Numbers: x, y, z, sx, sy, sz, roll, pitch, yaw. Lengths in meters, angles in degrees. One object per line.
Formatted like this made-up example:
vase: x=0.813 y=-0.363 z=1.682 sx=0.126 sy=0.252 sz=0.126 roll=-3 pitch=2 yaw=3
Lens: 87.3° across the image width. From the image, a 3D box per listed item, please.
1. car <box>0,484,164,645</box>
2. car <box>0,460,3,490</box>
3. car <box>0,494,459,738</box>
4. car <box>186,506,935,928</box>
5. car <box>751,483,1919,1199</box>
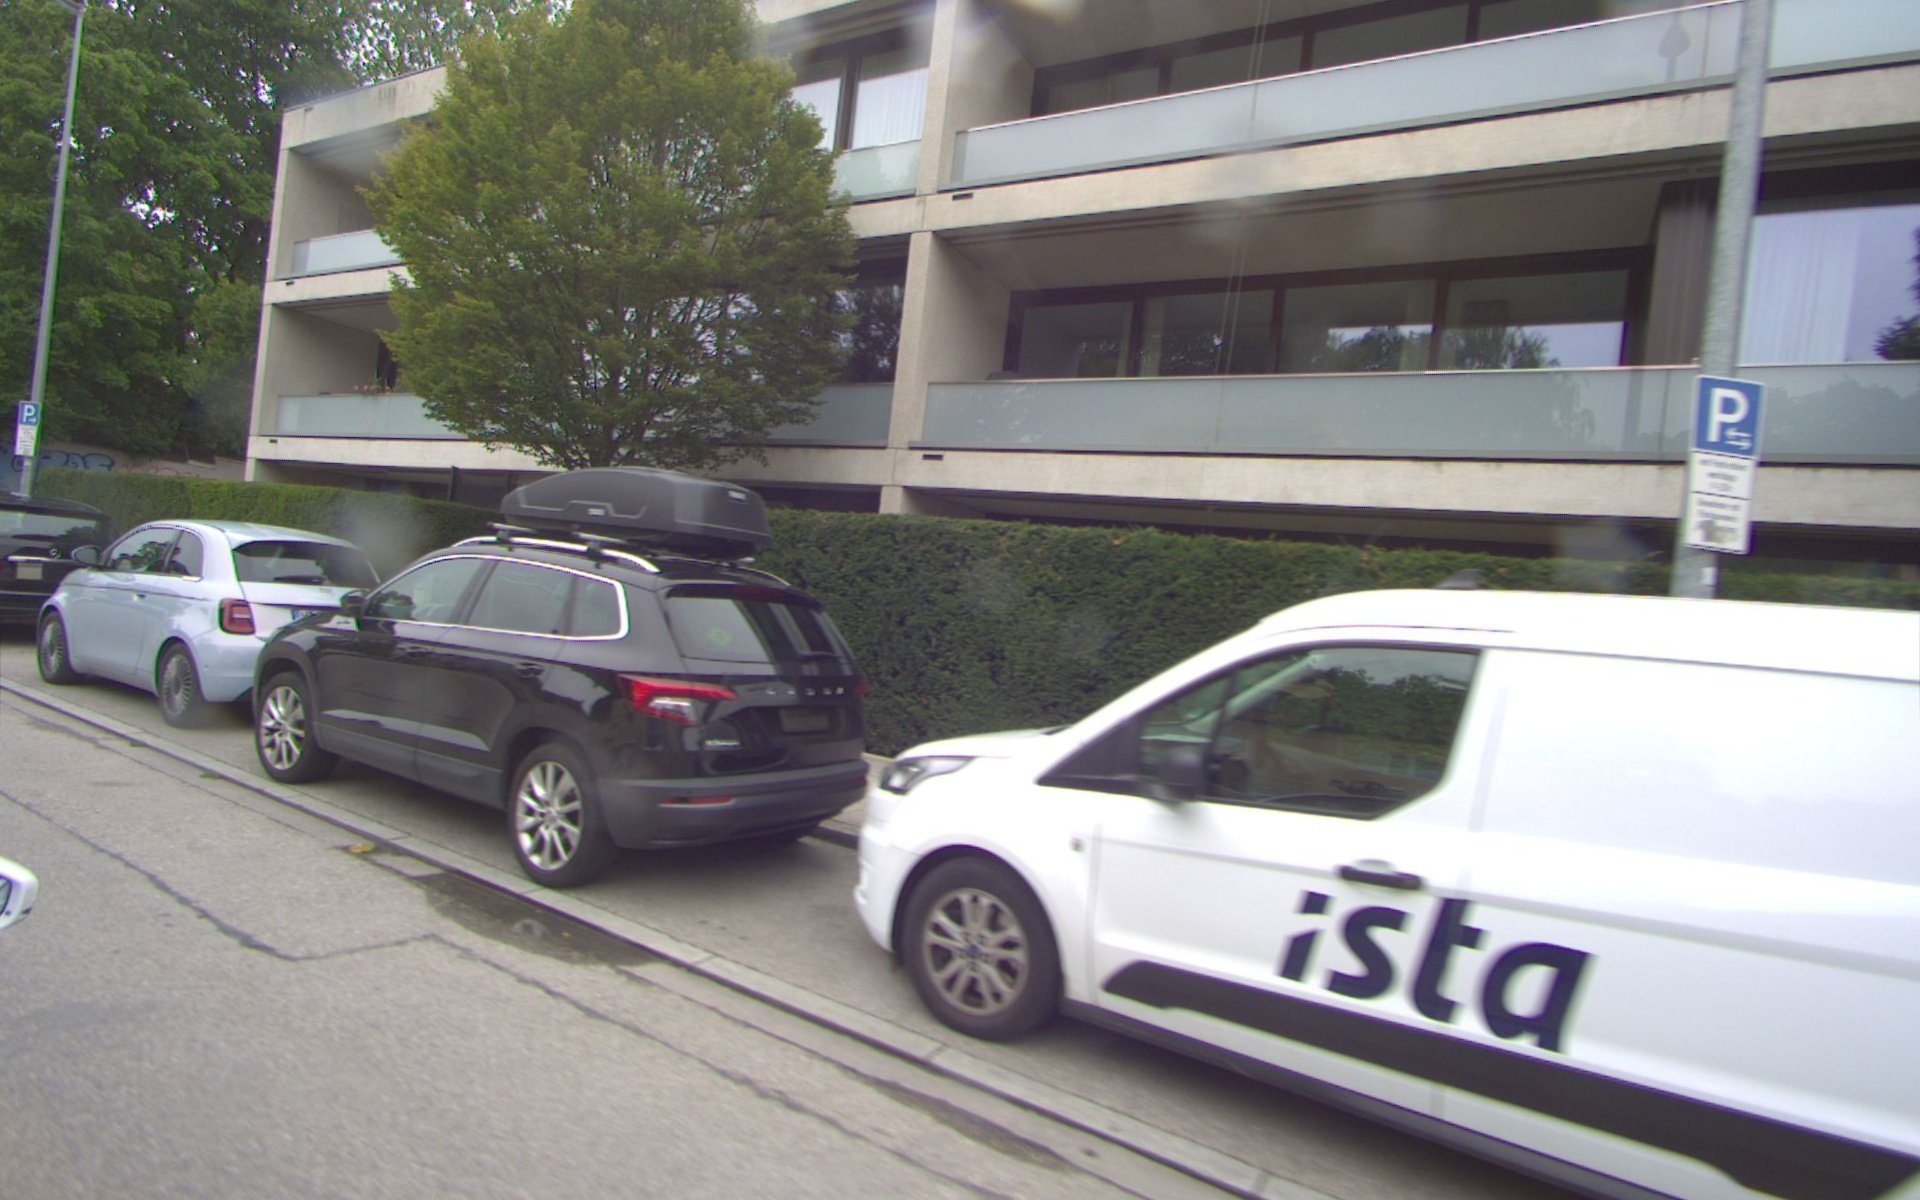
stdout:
car: x=-11.215 y=-0.569 z=11.398 sx=4.491 sy=1.558 sz=1.751 roll=7 pitch=0 yaw=29
car: x=-15.754 y=-1.259 z=14.009 sx=4.991 sy=1.894 sz=1.992 roll=6 pitch=-1 yaw=29
car: x=-6.343 y=0.067 z=8.650 sx=3.823 sy=1.499 sz=1.750 roll=7 pitch=0 yaw=31
car: x=-2.588 y=0.452 z=6.119 sx=4.521 sy=1.498 sz=1.750 roll=7 pitch=0 yaw=31
car: x=1.762 y=0.794 z=3.534 sx=4.818 sy=1.883 sz=1.825 roll=7 pitch=-1 yaw=33
